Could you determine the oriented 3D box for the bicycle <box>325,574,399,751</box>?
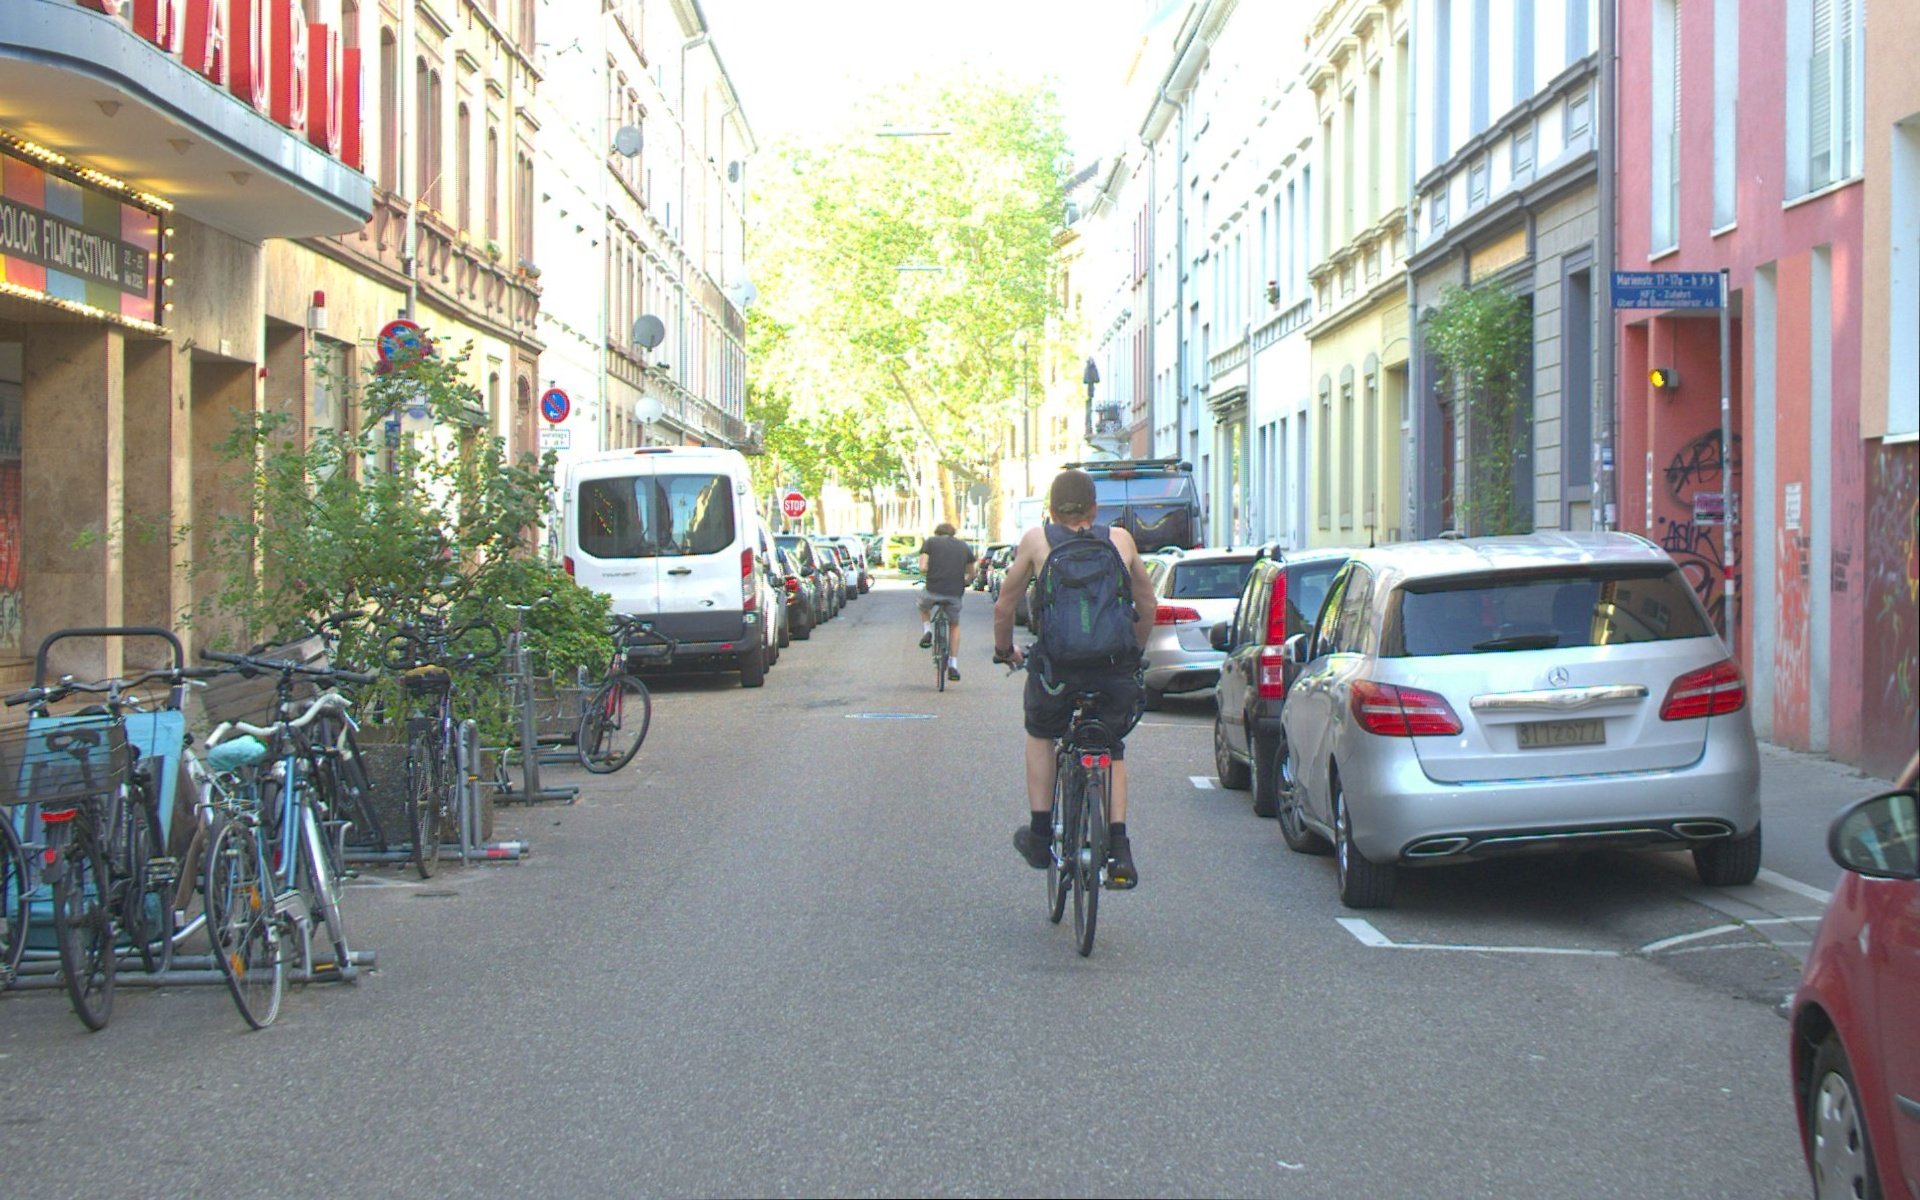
[{"bbox_3d":[-4.155,0.415,23.934,0.339,1.169,1.490,1,1,-4],"label":"bicycle"}]

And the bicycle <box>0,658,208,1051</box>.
[{"bbox_3d":[-2.896,0.781,11.285,0.443,1.102,1.932,1,1,-1],"label":"bicycle"}]

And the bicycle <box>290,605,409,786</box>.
[{"bbox_3d":[-3.742,0.569,21.135,0.573,1.042,1.410,1,1,-5],"label":"bicycle"}]

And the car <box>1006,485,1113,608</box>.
[{"bbox_3d":[2.160,-1.174,74.599,2.204,2.542,6.036,0,1,2],"label":"car"}]

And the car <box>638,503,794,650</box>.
[{"bbox_3d":[-3.388,-0.363,48.491,1.827,1.885,4.614,-3,1,0],"label":"car"}]

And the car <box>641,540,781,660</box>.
[{"bbox_3d":[-3.138,-0.033,43.901,1.645,1.442,3.840,-1,1,-2],"label":"car"}]

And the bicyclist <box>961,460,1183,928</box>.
[{"bbox_3d":[0.405,0.329,12.975,0.740,1.673,1.117,2,1,-1],"label":"bicyclist"}]

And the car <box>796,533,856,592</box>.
[{"bbox_3d":[-3.661,-1.039,93.555,1.544,1.545,3.466,-1,1,-4],"label":"car"}]

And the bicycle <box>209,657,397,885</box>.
[{"bbox_3d":[-3.000,0.761,15.814,0.554,0.941,1.572,0,1,0],"label":"bicycle"}]

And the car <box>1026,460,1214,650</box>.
[{"bbox_3d":[2.146,-0.653,48.001,2.175,2.417,6.310,-1,1,-1],"label":"car"}]

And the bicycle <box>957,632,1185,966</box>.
[{"bbox_3d":[0.390,0.707,13.076,0.740,1.097,2.042,2,1,-1],"label":"bicycle"}]

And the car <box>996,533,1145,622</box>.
[{"bbox_3d":[2.017,-0.450,64.114,1.811,1.473,4.610,-3,2,-10],"label":"car"}]

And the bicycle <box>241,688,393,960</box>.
[{"bbox_3d":[-2.403,0.817,12.920,0.321,0.913,1.290,0,1,0],"label":"bicycle"}]

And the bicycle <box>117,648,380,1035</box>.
[{"bbox_3d":[-2.309,0.745,11.321,0.499,1.102,1.830,1,1,-1],"label":"bicycle"}]

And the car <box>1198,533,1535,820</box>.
[{"bbox_3d":[2.376,0.393,20.823,1.602,1.534,3.450,-2,1,1],"label":"car"}]

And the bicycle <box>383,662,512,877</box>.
[{"bbox_3d":[-2.396,0.777,16.166,0.390,0.913,1.393,0,1,0],"label":"bicycle"}]

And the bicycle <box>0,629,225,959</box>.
[{"bbox_3d":[-3.266,0.712,12.979,0.812,1.171,0.920,0,1,-3],"label":"bicycle"}]

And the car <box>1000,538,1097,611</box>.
[{"bbox_3d":[1.762,-0.533,69.330,1.725,1.424,3.833,-1,1,-2],"label":"car"}]

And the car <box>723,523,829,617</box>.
[{"bbox_3d":[-3.513,-0.594,66.206,1.801,1.692,4.000,-2,1,0],"label":"car"}]

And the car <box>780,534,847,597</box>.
[{"bbox_3d":[-3.661,-0.879,86.180,1.604,1.525,3.379,-1,1,-2],"label":"car"}]

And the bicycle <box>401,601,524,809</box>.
[{"bbox_3d":[-2.845,0.576,19.792,0.546,1.090,1.882,1,1,-4],"label":"bicycle"}]

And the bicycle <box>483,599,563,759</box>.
[{"bbox_3d":[-3.089,0.542,24.388,0.442,1.044,1.865,1,1,-4],"label":"bicycle"}]

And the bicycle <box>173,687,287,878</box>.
[{"bbox_3d":[-3.465,0.850,16.367,0.256,0.814,1.299,1,1,0],"label":"bicycle"}]

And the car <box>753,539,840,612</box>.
[{"bbox_3d":[-3.371,-0.527,71.187,1.592,1.435,3.654,0,1,0],"label":"car"}]

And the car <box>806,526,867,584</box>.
[{"bbox_3d":[-3.773,-1.410,105.753,1.787,1.731,3.876,-1,1,-1],"label":"car"}]

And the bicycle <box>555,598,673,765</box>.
[{"bbox_3d":[-2.361,0.536,23.325,0.460,1.044,1.751,1,1,-16],"label":"bicycle"}]

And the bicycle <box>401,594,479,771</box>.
[{"bbox_3d":[-3.676,0.562,24.357,0.399,1.169,1.670,1,1,-4],"label":"bicycle"}]

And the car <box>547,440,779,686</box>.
[{"bbox_3d":[-3.166,-0.435,37.838,2.168,2.443,5.922,-1,1,-2],"label":"car"}]

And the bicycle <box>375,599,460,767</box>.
[{"bbox_3d":[-3.577,0.533,22.719,0.417,1.044,1.319,1,1,-4],"label":"bicycle"}]

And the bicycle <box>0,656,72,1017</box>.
[{"bbox_3d":[-3.242,0.762,10.844,0.443,1.102,1.874,1,1,-2],"label":"bicycle"}]

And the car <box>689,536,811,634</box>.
[{"bbox_3d":[-3.324,-0.278,55.188,1.862,1.435,4.646,-1,2,-2],"label":"car"}]

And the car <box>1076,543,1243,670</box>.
[{"bbox_3d":[2.375,0.041,41.781,1.747,1.439,4.172,0,1,0],"label":"car"}]

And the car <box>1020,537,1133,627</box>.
[{"bbox_3d":[1.979,-0.342,59.331,1.746,1.480,4.243,0,1,-1],"label":"car"}]

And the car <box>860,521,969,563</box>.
[{"bbox_3d":[-1.943,-2.451,145.152,4.468,1.753,1.867,-1,1,-4],"label":"car"}]

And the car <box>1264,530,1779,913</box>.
[{"bbox_3d":[2.457,0.451,16.007,1.746,1.550,4.171,0,1,0],"label":"car"}]

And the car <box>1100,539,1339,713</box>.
[{"bbox_3d":[2.406,0.193,32.884,1.786,1.449,4.547,-3,1,-1],"label":"car"}]

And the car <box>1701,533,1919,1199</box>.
[{"bbox_3d":[2.527,0.640,5.798,1.697,1.518,3.980,-1,1,1],"label":"car"}]

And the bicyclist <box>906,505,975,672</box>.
[{"bbox_3d":[-0.192,-0.124,34.461,0.669,1.653,0.877,0,1,0],"label":"bicyclist"}]

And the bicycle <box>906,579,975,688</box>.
[{"bbox_3d":[-0.197,0.320,34.562,0.664,1.034,1.959,0,1,0],"label":"bicycle"}]
